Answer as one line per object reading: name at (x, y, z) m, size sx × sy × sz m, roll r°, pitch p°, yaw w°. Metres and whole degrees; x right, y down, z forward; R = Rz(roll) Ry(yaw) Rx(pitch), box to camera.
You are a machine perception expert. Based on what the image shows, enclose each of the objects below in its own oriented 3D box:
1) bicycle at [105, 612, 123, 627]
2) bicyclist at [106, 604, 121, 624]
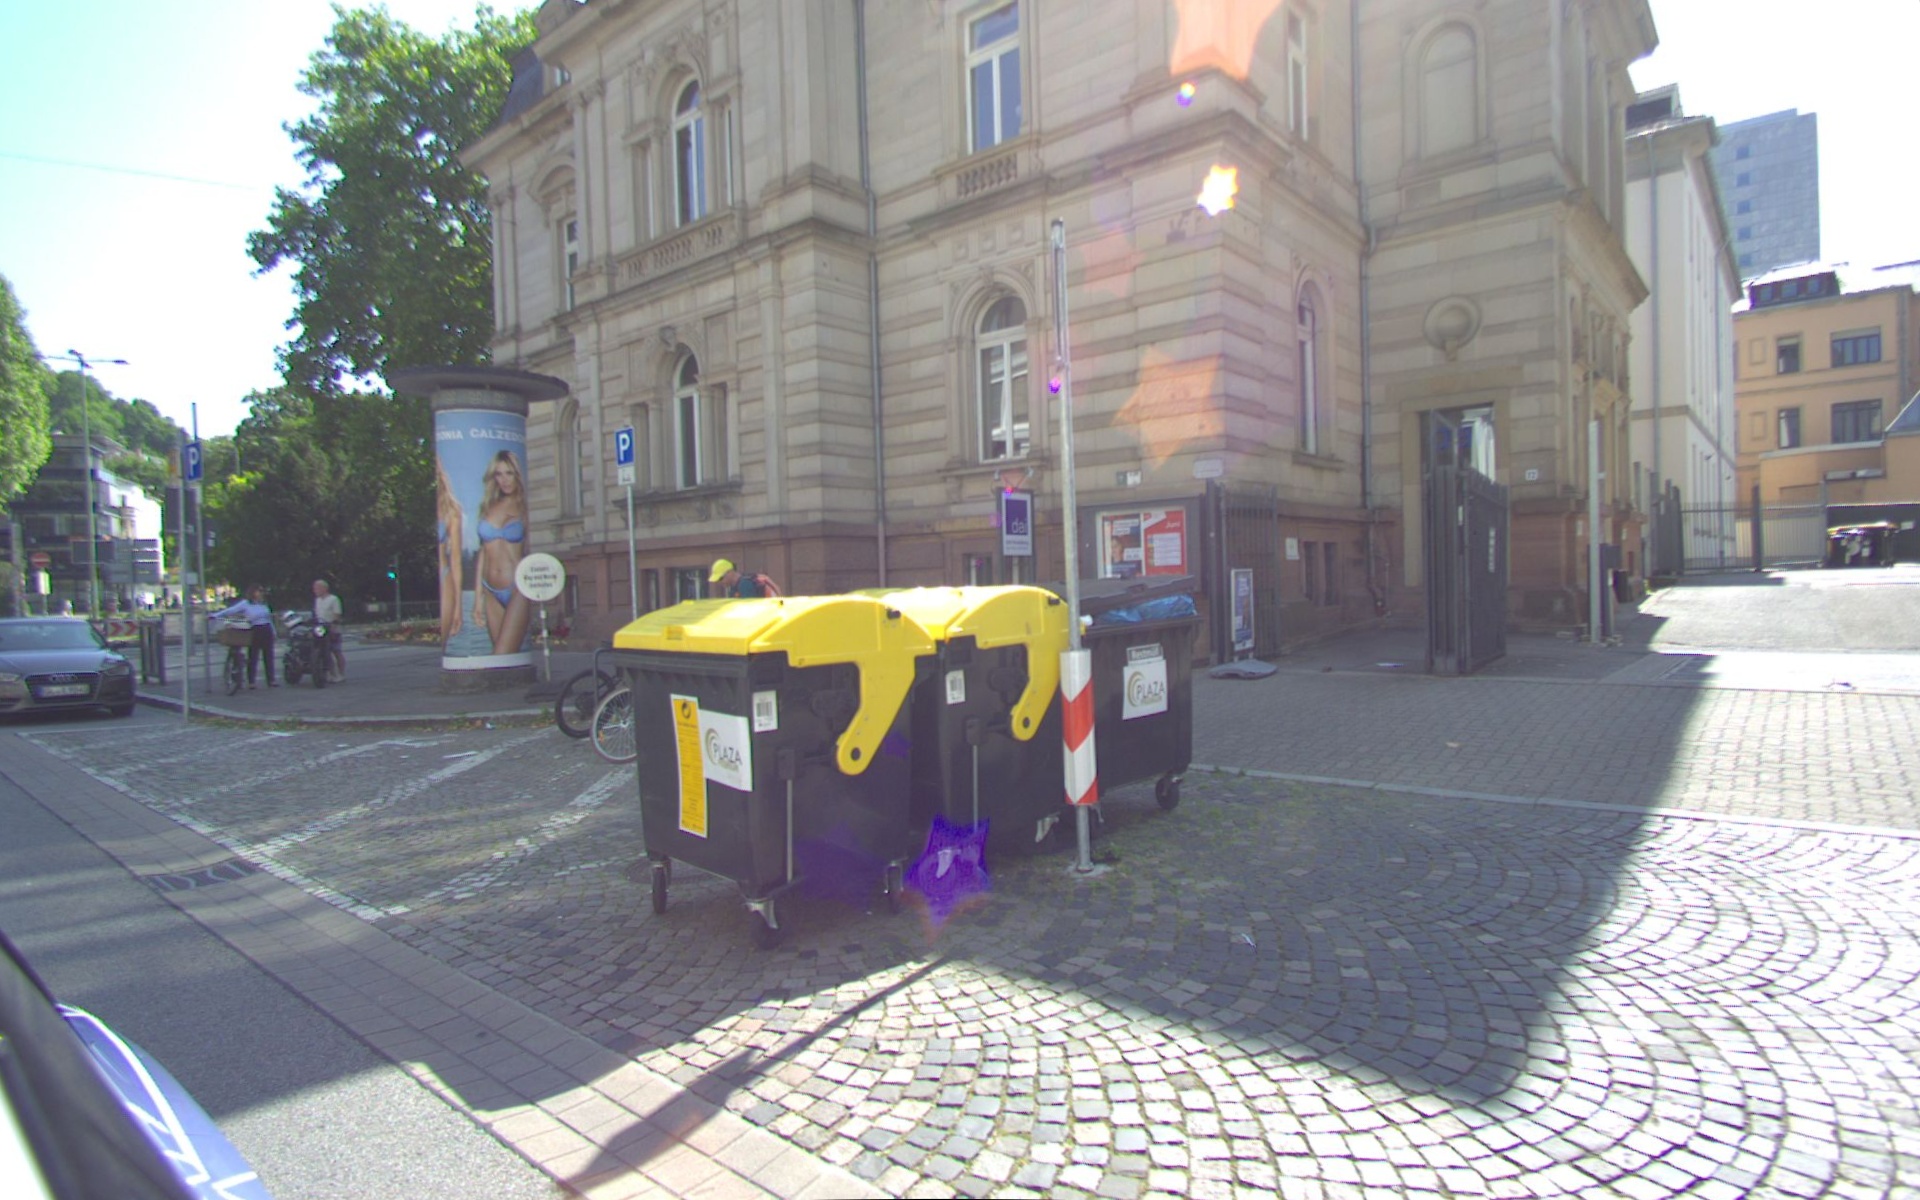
bicycle at (-72.696, 1.670, 86.981) m, size 0.747 × 1.129 × 2.008 m, roll -2°, pitch 2°, yaw -29°
bicyclist at (-72.668, 1.196, 86.886) m, size 0.753 × 1.648 × 0.946 m, roll -2°, pitch 2°, yaw -30°
